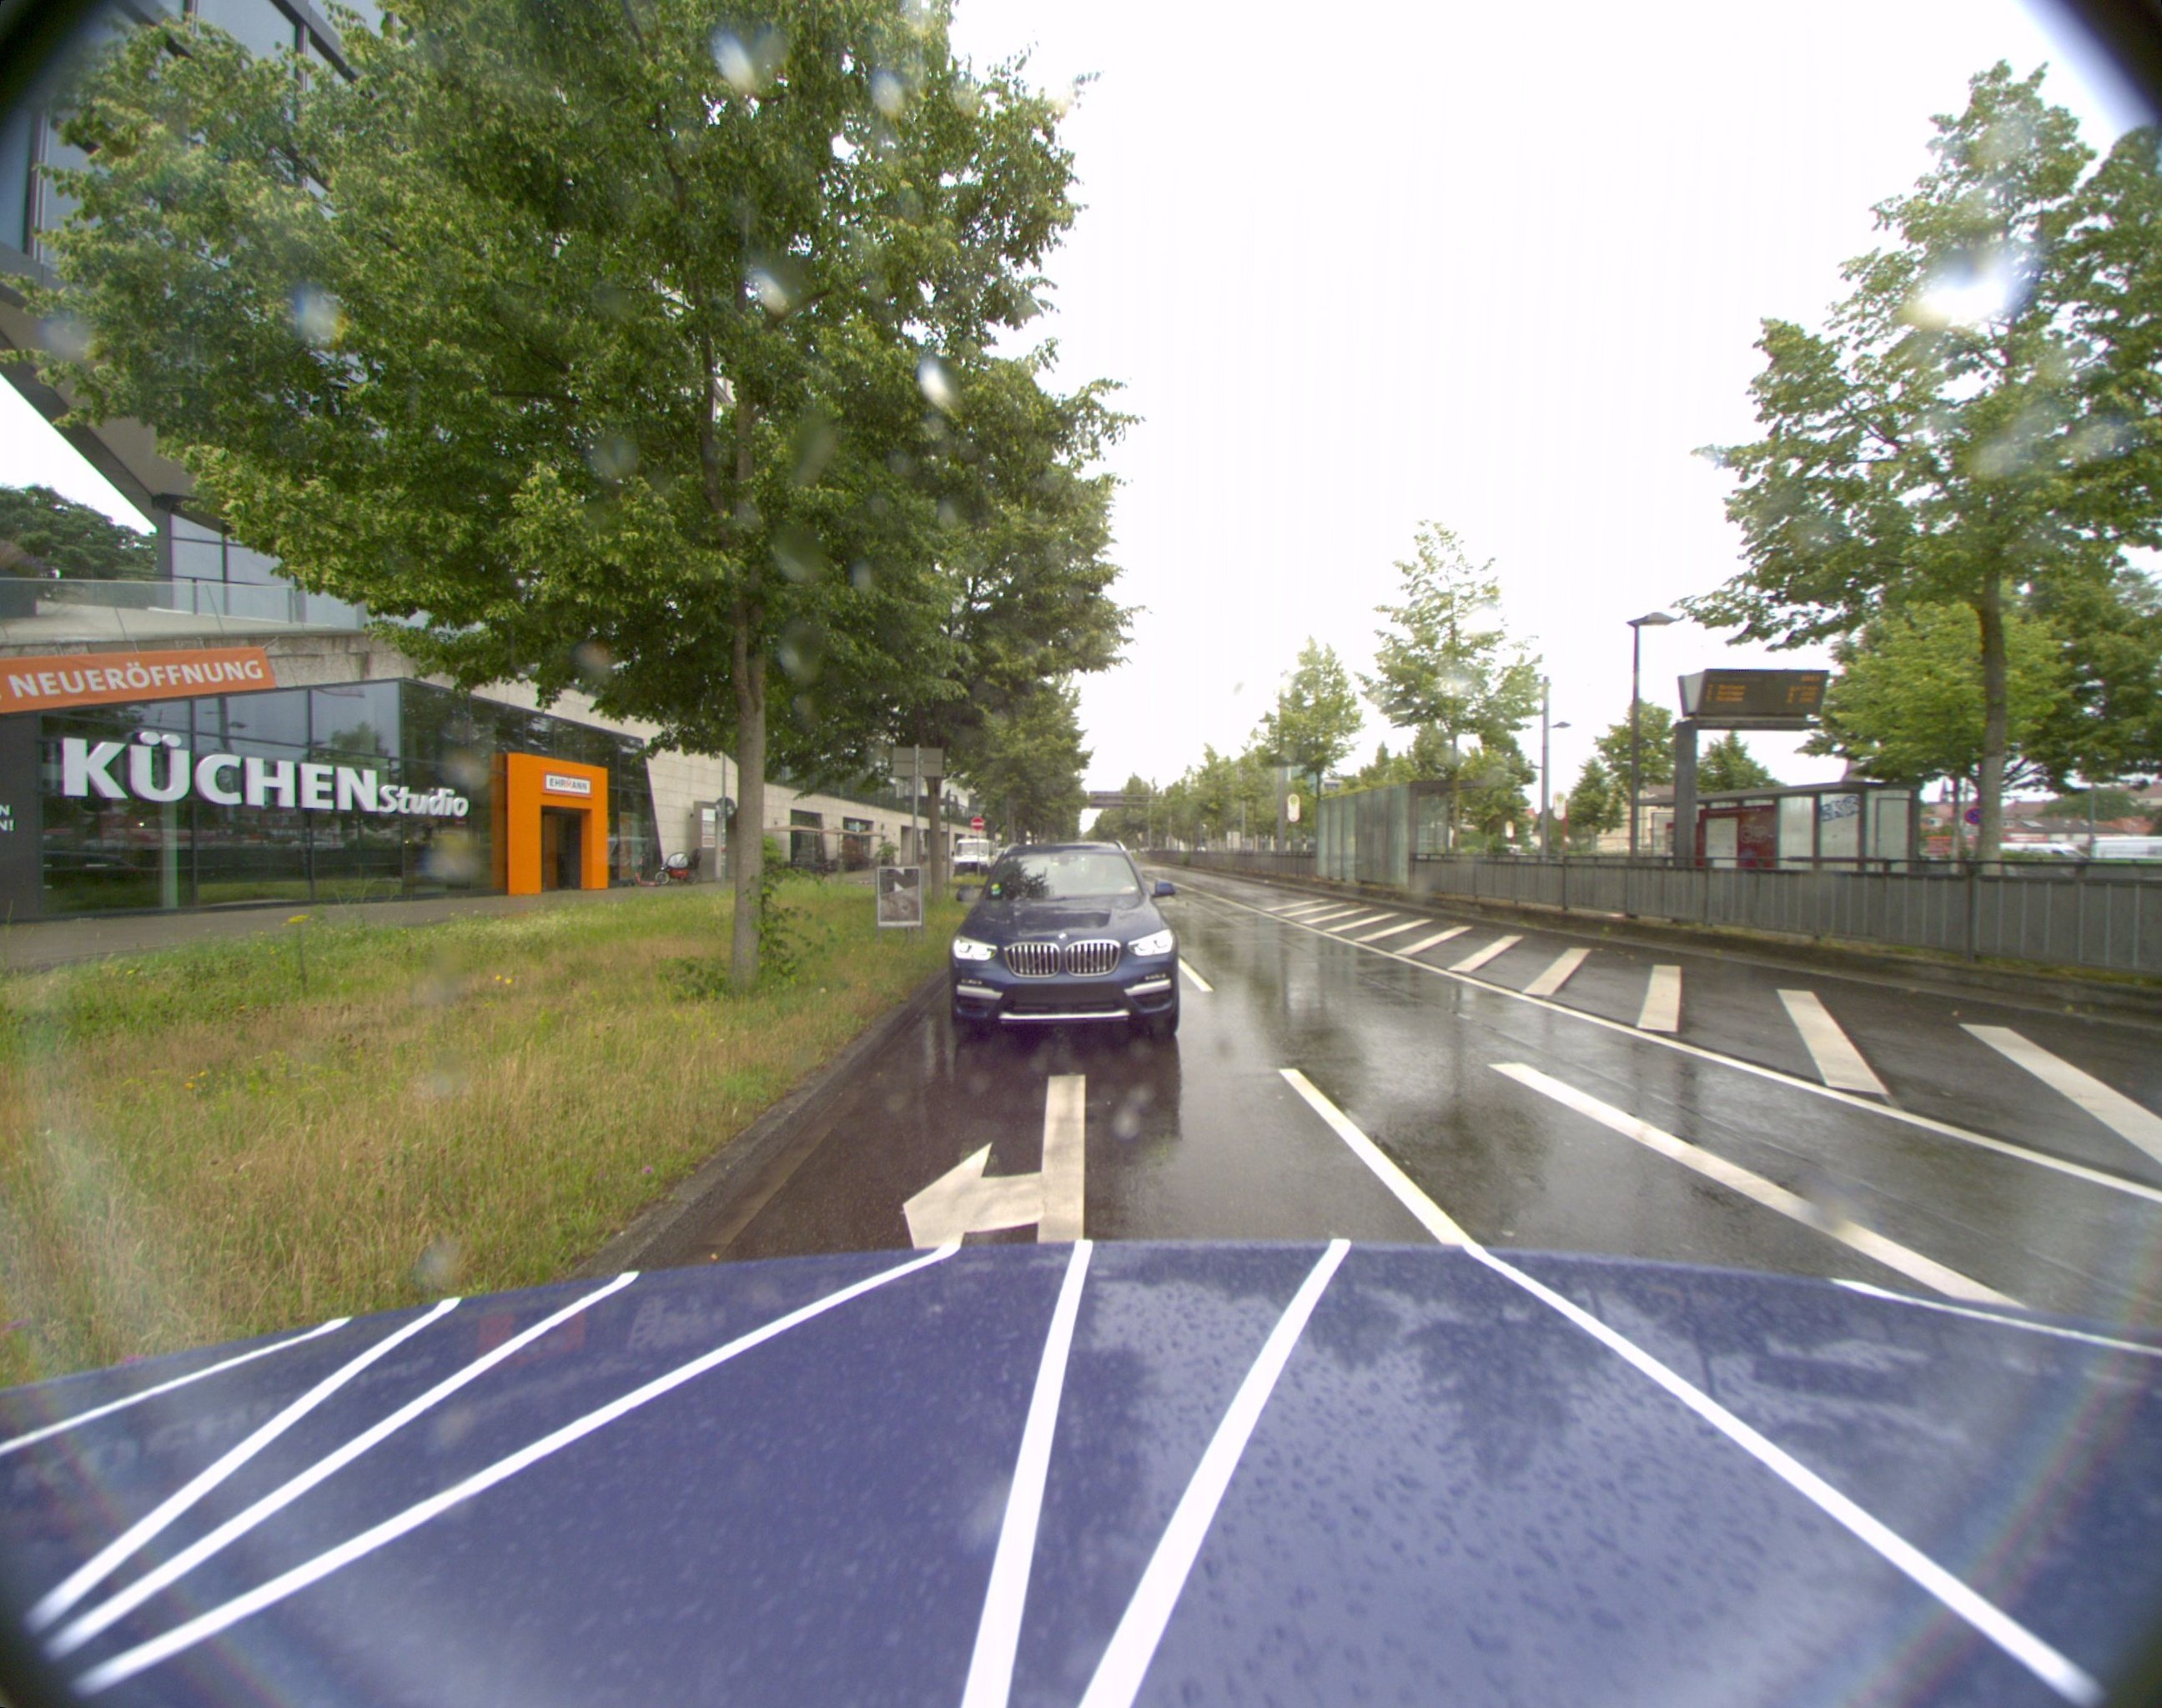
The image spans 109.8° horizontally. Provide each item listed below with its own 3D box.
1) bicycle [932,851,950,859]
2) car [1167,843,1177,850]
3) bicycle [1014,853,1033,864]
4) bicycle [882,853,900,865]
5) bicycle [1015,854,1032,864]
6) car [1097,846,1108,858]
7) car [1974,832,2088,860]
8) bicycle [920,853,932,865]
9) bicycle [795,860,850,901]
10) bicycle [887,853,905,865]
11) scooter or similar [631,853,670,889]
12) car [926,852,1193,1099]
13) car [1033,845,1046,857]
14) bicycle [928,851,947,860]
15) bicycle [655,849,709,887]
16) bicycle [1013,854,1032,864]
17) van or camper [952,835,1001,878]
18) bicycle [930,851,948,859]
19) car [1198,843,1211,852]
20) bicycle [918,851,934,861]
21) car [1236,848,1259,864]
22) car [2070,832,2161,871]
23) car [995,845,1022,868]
[{"bbox_3d":[-15.981,0.114,86.656,2.029,0.940,0.395,1,1,-4],"label":"bicycle"},{"bbox_3d":[24.784,-2.067,207.337,1.999,1.736,3.998,-2,1,-2],"label":"car"},{"bbox_3d":[-5.688,0.448,74.922,1.862,0.940,0.395,-2,2,-4],"label":"bicycle"},{"bbox_3d":[-15.361,0.407,61.310,0.396,0.940,2.024,-4,2,-45],"label":"bicycle"},{"bbox_3d":[-5.585,0.482,73.649,1.649,0.940,0.395,-2,2,-4],"label":"bicycle"},{"bbox_3d":[4.312,-0.465,151.556,1.998,2.232,3.999,-2,1,1],"label":"car"},{"bbox_3d":[84.250,-0.723,67.560,2.000,2.293,6.138,-3,1,-9],"label":"car"},{"bbox_3d":[-13.151,0.395,64.696,0.402,0.940,1.859,-1,1,8],"label":"bicycle"},{"bbox_3d":[-8.608,0.870,25.274,1.843,1.338,0.533,-1,0,26],"label":"bicycle"},{"bbox_3d":[-15.114,0.385,61.929,0.396,0.940,2.024,-4,2,-45],"label":"bicycle"},{"bbox_3d":[-15.651,0.607,27.665,0.342,1.221,1.242,-2,2,19],"label":"scooter or similar"},{"bbox_3d":[-0.118,0.856,7.348,1.816,1.603,3.999,-2,1,1],"label":"car"},{"bbox_3d":[-6.026,-0.437,111.517,1.659,1.711,3.999,-2,1,0],"label":"car"},{"bbox_3d":[-15.808,0.157,83.538,2.029,0.940,0.395,1,1,-4],"label":"bicycle"},{"bbox_3d":[-15.436,0.527,29.490,0.734,1.394,2.425,1,0,1],"label":"bicycle"},{"bbox_3d":[-5.678,0.462,74.241,1.793,0.940,0.395,-2,2,-4],"label":"bicycle"},{"bbox_3d":[-5.864,0.109,43.385,2.030,2.279,5.458,-1,1,0],"label":"van or camper"},{"bbox_3d":[-15.949,0.123,85.405,2.029,0.940,0.395,1,1,-4],"label":"bicycle"},{"bbox_3d":[25.969,-1.294,159.657,1.999,1.736,3.998,-2,1,-2],"label":"car"},{"bbox_3d":[-16.279,0.210,79.667,1.657,0.940,0.347,1,2,19],"label":"bicycle"},{"bbox_3d":[22.059,0.219,100.799,1.762,2.002,3.997,0,1,-6],"label":"car"},{"bbox_3d":[70.068,-0.166,49.592,1.999,2.448,6.744,-2,1,-4],"label":"car"},{"bbox_3d":[-5.870,0.174,62.215,1.746,1.749,4.847,-1,1,0],"label":"car"}]
